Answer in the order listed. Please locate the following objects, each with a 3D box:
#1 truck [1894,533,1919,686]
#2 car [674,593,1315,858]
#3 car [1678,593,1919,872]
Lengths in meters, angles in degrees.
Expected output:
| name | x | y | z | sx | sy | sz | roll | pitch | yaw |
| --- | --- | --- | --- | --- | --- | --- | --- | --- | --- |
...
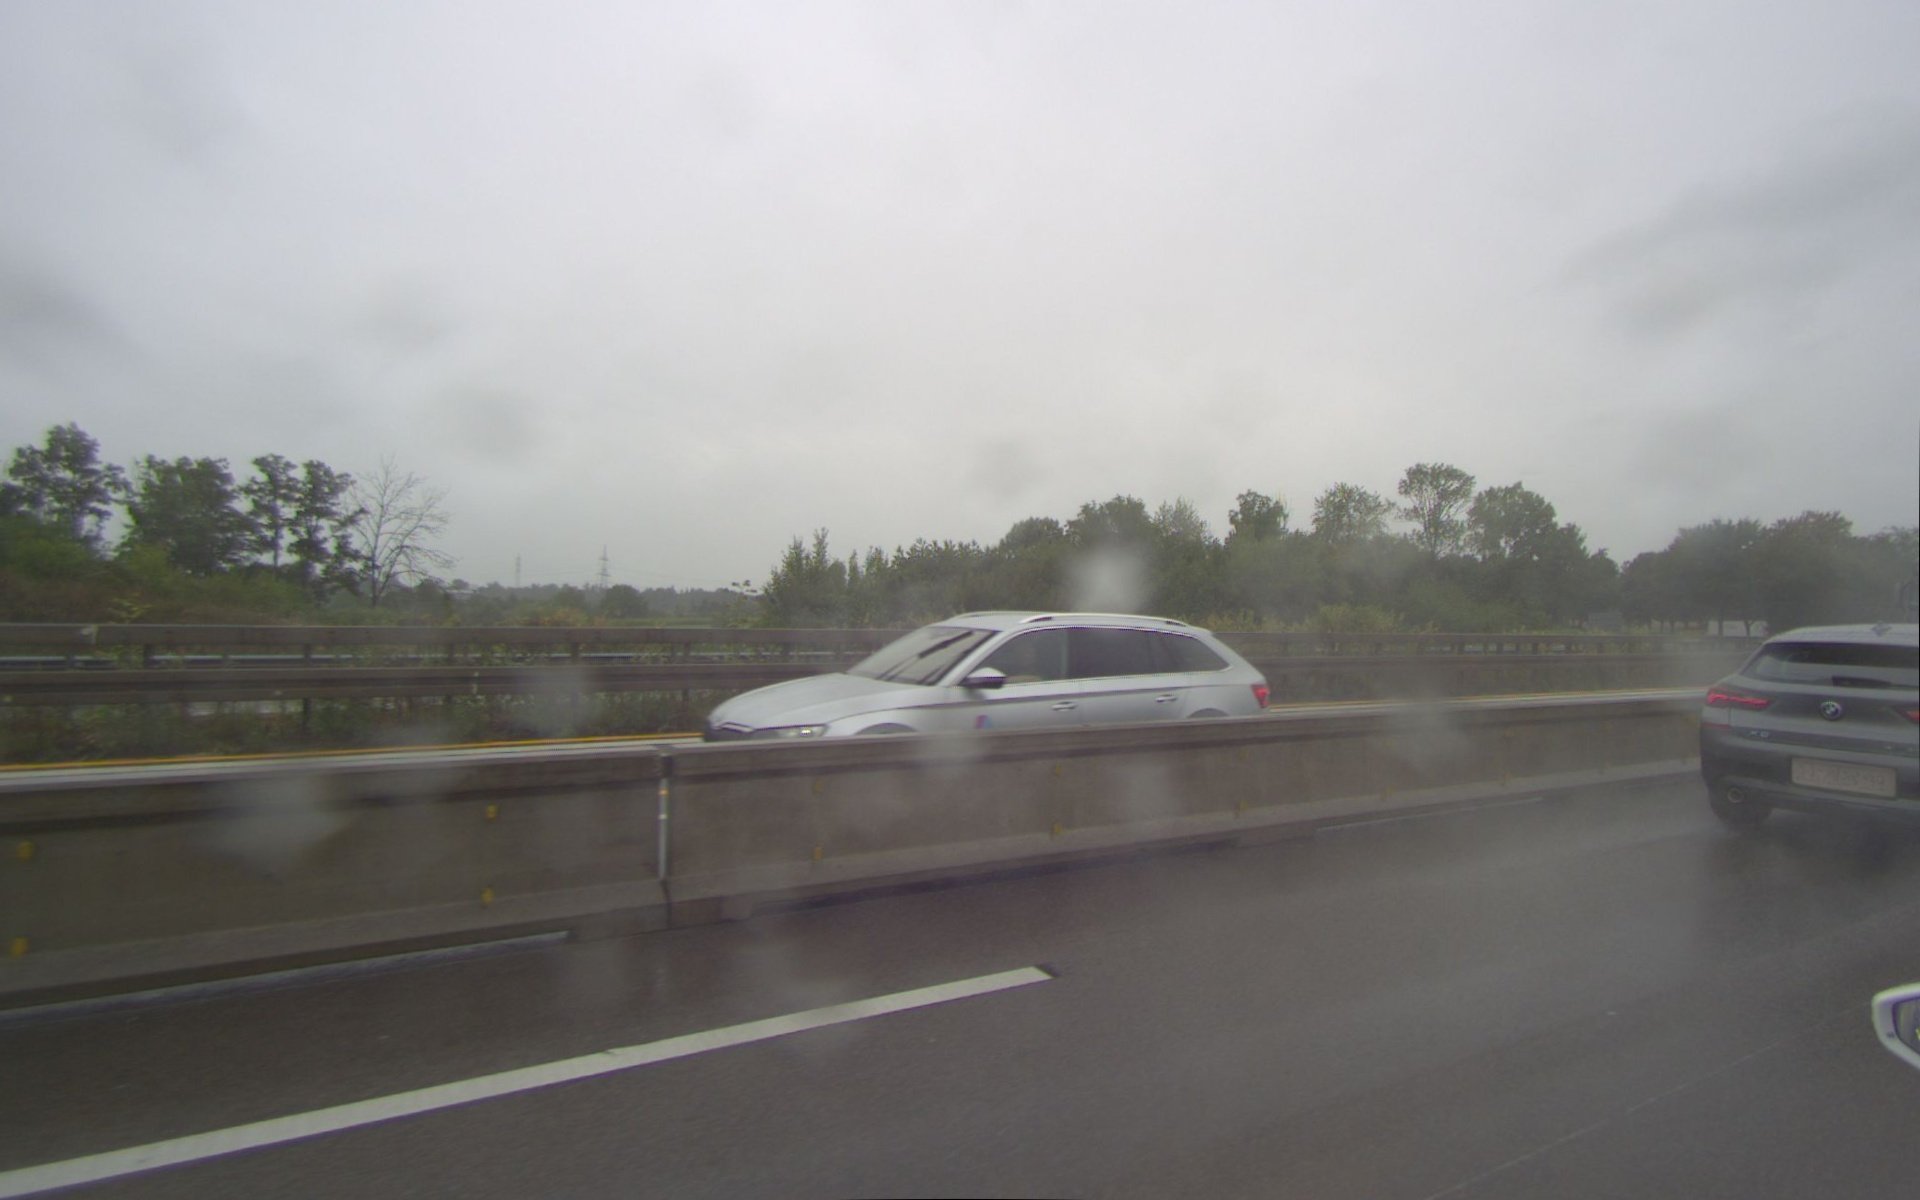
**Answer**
| name | x | y | z | sx | sy | sz | roll | pitch | yaw |
| --- | --- | --- | --- | --- | --- | --- | --- | --- | --- |
| truck | 29.434 | 0.377 | 28.348 | 6.617 | 4.182 | 2.630 | 2 | 0 | -30 |
| car | 0.366 | 0.798 | 7.883 | 4.665 | 1.526 | 2.028 | 2 | -1 | -30 |
| car | 7.439 | 0.824 | 7.424 | 4.789 | 1.619 | 1.692 | 2 | 0 | -31 |
